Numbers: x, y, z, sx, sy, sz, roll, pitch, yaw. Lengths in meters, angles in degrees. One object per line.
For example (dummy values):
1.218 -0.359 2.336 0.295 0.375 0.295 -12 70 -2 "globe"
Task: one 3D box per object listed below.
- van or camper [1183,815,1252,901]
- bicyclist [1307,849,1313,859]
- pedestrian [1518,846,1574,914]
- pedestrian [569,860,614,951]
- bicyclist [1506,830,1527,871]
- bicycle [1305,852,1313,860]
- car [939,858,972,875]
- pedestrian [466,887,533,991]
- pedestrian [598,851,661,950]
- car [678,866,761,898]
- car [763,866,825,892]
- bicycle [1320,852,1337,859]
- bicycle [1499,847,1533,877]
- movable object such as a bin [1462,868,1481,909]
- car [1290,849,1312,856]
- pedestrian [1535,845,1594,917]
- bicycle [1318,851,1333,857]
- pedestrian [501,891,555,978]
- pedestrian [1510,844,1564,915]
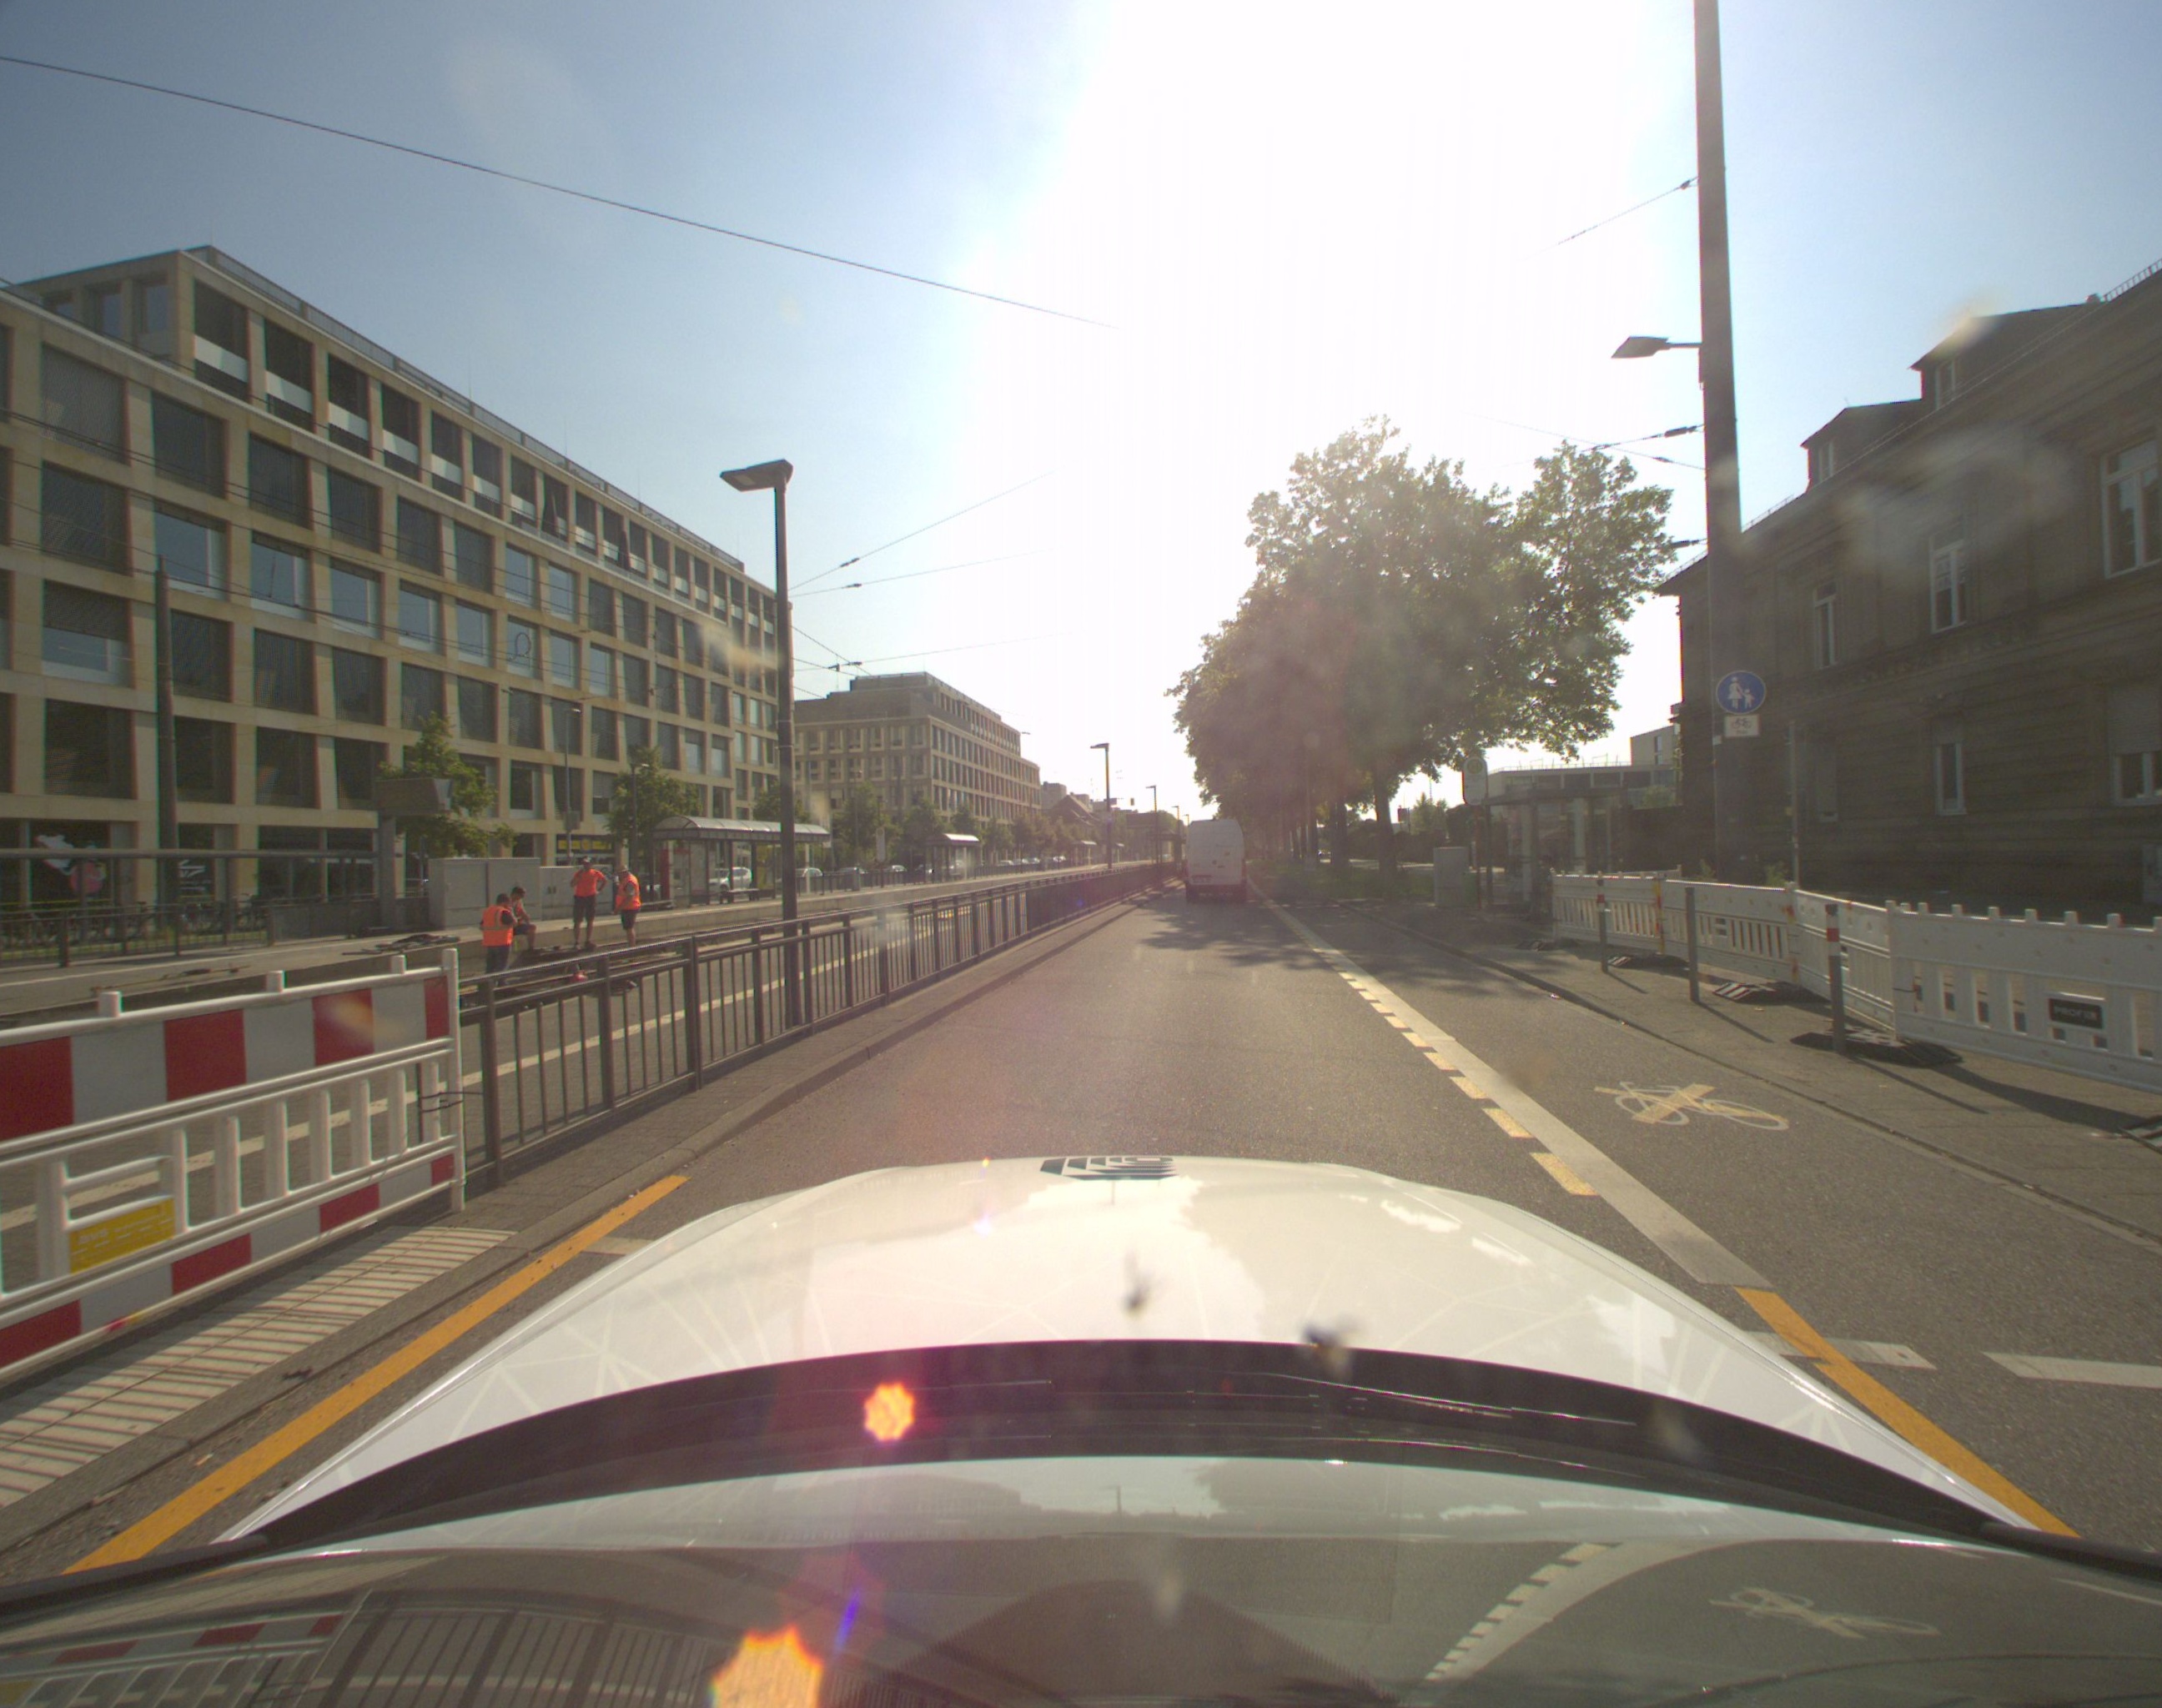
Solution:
4.600 0.127 27.934 2.104 2.682 5.262 0 0 8 "van or camper"
30.467 0.052 108.532 0.665 1.276 0.730 -3 0 9 "bicyclist"
8.801 0.491 15.428 0.736 1.261 0.613 0 -1 10 "pedestrian"
-10.085 1.039 16.795 0.627 1.815 0.636 -2 0 -22 "pedestrian"
16.444 -0.126 30.744 0.466 1.539 0.597 -2 0 7 "bicyclist"
30.361 0.212 108.510 0.677 1.005 2.224 -3 0 9 "bicycle"
-11.635 1.143 75.752 1.673 1.407 4.382 -2 0 9 "car"
-9.895 1.420 13.859 0.660 1.663 0.776 -2 0 44 "pedestrian"
-9.187 0.922 16.600 0.718 1.950 0.791 -2 0 12 "pedestrian"
-18.364 1.378 41.601 1.673 1.407 4.385 -2 0 9 "car"
-17.170 1.469 48.903 1.673 1.407 4.093 -2 0 9 "car"
33.472 0.167 110.294 2.166 0.847 0.504 -3 0 10 "bicycle"
16.471 0.284 30.863 0.488 1.089 1.861 -2 0 8 "bicycle"
8.967 0.777 18.707 0.270 0.915 0.387 -2 0 8 "movable object such as a bin"
43.888 -0.318 162.526 3.962 1.376 2.005 0 -1 10 "car"
8.681 0.480 14.643 0.736 1.261 0.613 0 -1 10 "pedestrian"
34.011 -0.018 113.293 1.920 0.847 0.373 -3 0 10 "bicycle"
-10.505 1.505 15.487 0.640 1.554 0.623 -2 0 -16 "pedestrian"
8.986 0.500 16.077 0.746 1.366 0.613 0 -1 10 "pedestrian"
